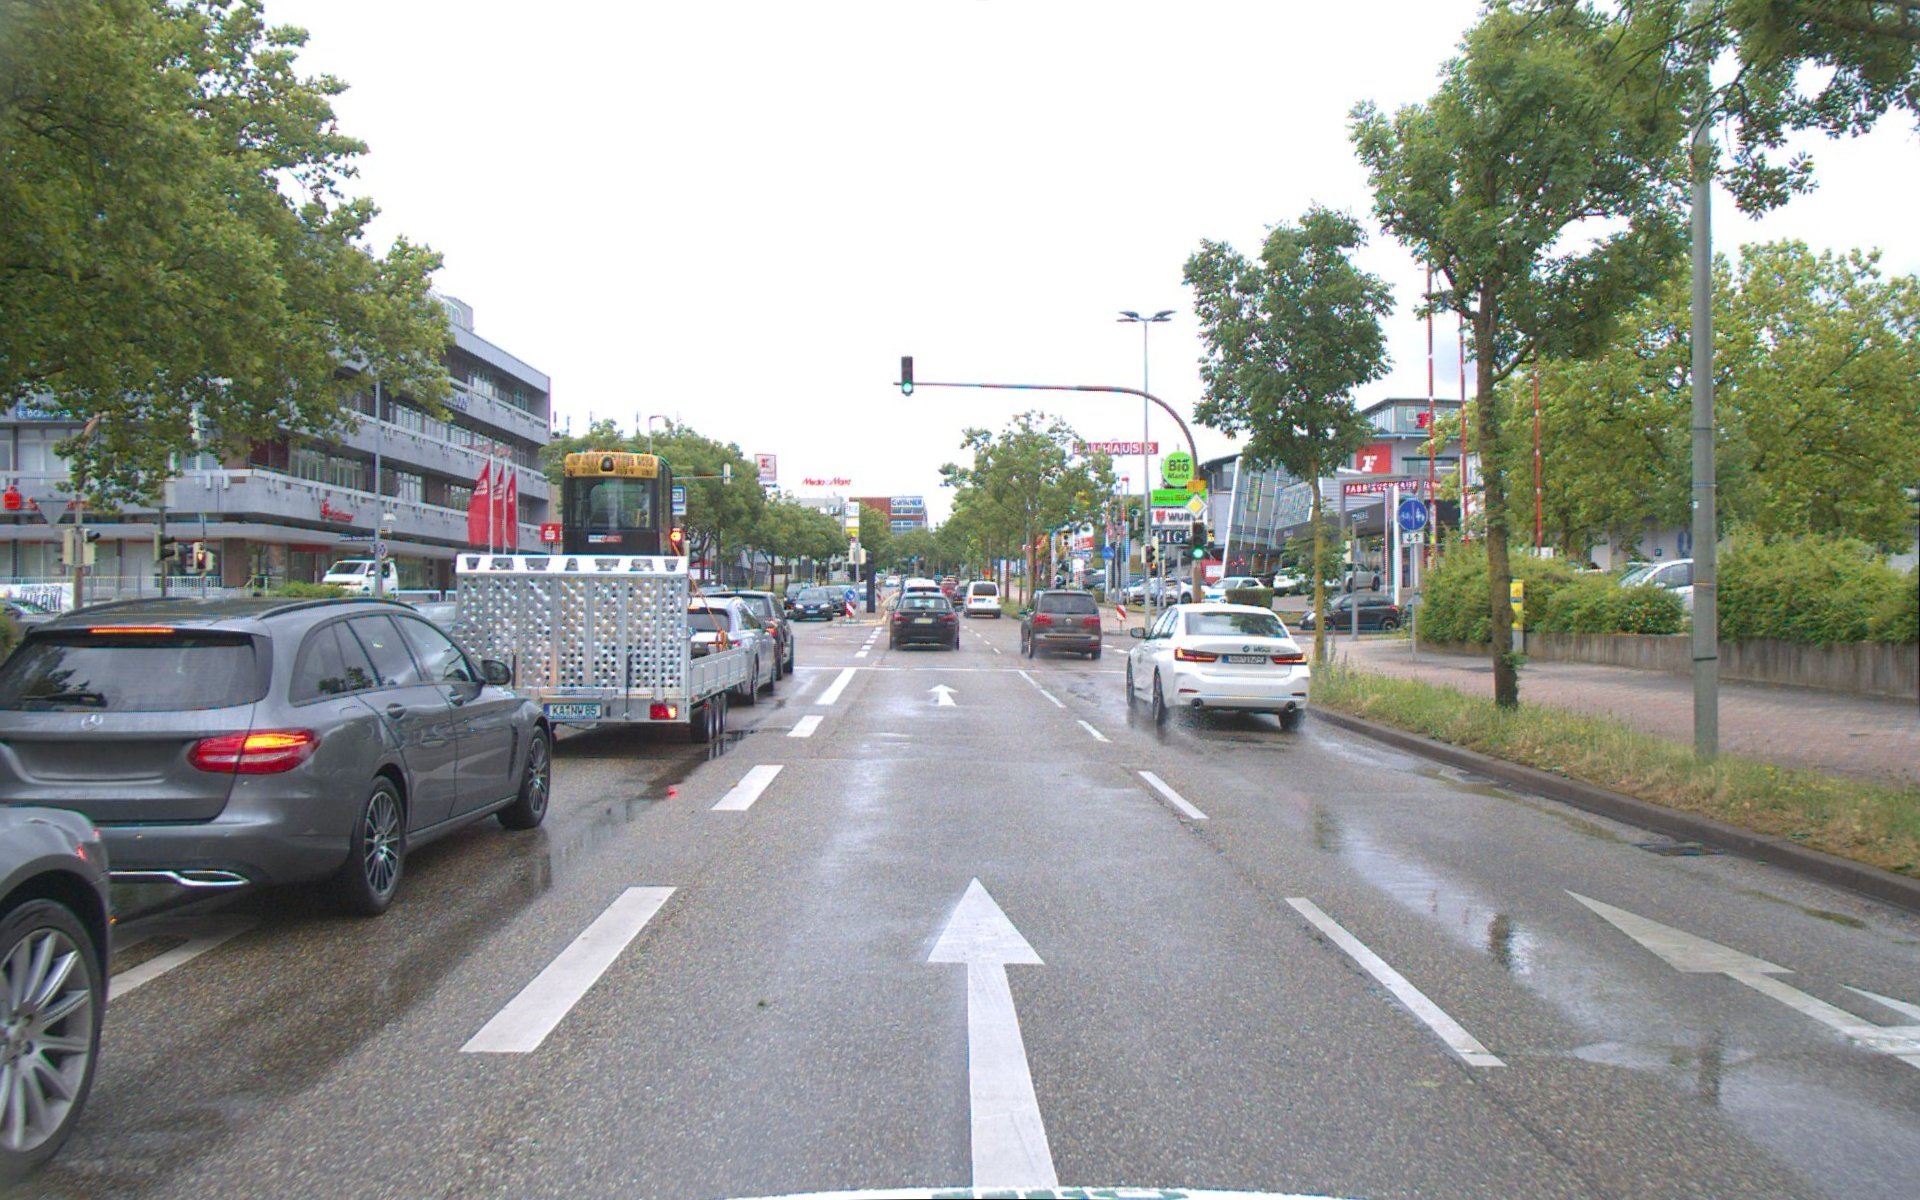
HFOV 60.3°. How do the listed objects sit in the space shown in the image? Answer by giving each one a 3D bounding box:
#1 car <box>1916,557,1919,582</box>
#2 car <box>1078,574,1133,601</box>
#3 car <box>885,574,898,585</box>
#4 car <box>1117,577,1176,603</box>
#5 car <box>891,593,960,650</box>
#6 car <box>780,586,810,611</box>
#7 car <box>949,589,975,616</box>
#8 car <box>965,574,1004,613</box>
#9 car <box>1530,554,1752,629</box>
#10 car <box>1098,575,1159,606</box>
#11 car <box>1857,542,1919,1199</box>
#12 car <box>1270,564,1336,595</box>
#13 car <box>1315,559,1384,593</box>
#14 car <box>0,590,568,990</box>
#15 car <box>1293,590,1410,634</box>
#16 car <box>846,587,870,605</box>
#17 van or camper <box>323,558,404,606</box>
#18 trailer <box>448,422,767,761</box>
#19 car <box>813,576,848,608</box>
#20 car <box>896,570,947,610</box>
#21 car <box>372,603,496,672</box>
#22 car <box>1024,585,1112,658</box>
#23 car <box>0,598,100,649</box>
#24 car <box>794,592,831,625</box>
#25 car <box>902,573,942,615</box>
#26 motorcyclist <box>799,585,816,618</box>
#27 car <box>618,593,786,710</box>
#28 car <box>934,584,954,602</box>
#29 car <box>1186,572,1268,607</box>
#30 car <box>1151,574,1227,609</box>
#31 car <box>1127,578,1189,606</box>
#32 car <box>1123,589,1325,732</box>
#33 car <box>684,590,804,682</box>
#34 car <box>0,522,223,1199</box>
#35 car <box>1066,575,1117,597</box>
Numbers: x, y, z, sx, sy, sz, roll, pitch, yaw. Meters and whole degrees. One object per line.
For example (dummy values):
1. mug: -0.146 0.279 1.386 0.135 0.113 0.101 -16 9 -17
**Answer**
1. car: 50.116 -1.565 83.245 1.527 1.292 3.197 -1 0 -41
2. car: 11.008 -0.971 125.160 4.026 1.938 1.800 -1 0 0
3. car: -9.739 -2.866 234.879 1.904 1.474 3.998 0 0 -2
4. car: 11.674 -0.634 103.374 3.567 1.562 1.770 -2 1 -41
5. car: -0.920 0.534 43.741 1.745 1.422 3.999 0 0 -2
6. car: -10.778 -0.108 108.290 1.873 1.636 4.359 -1 0 -5
7. car: 0.121 0.195 107.734 1.650 1.713 3.402 1 -1 0
8. car: 1.214 -0.321 83.620 1.746 1.899 3.999 -1 0 -2
9. car: 13.990 -0.179 34.122 3.904 1.467 1.655 -1 0 1
10. car: 11.593 -0.650 113.947 4.026 2.142 1.800 0 1 0
11. car: 3.218 0.678 2.090 1.691 1.653 4.470 0 0 -1
12. car: 20.549 -1.252 99.014 4.117 1.802 1.712 -1 0 -41
13. car: 21.060 -1.310 89.354 4.123 1.802 1.710 -1 0 -45
14. car: -3.581 0.728 8.599 1.953 1.454 4.554 -2 1 0
15. car: 14.596 0.454 61.755 3.898 1.515 1.817 -1 -1 -1
16. car: -8.419 -0.319 136.754 1.688 1.422 4.787 -3 0 -2
17. van or camper: -26.726 -0.780 74.280 1.953 2.001 4.787 1 -1 -1
18. trailer: -3.423 -0.077 17.342 2.325 2.947 5.543 -1 0 -2
19. car: -6.602 -0.380 84.343 1.710 1.515 4.824 0 0 -4
20. car: -1.434 -0.369 60.646 1.649 1.401 3.996 -1 0 -5
21. car: -12.108 0.832 38.351 1.677 1.407 4.171 -3 0 -3
22. car: 2.559 0.479 40.117 1.764 1.614 4.450 2 0 -1
23. car: -29.315 0.727 51.490 4.065 1.515 1.878 -1 0 -3
24. car: -6.688 0.368 75.271 1.649 1.401 3.996 -1 0 -5
25. car: -1.928 -0.265 84.176 1.953 2.049 3.999 1 -1 -1
26. motorcyclist: -7.359 0.078 79.864 0.790 1.586 1.267 0 1 -3
27. car: -3.566 0.653 23.665 1.730 1.484 4.779 -1 0 -1
28. car: -1.325 -0.588 137.066 1.661 1.468 3.989 0 1 -1
29. car: 12.607 -0.494 77.842 1.896 1.604 4.265 -1 0 40
30. car: 12.458 -0.464 89.943 3.991 1.691 1.953 -3 2 -41
31. car: 11.479 -0.483 95.668 3.567 1.563 1.619 -1 0 -41
32. car: 3.219 0.682 21.032 1.764 1.571 4.619 2 0 -1
33. car: -3.799 0.592 29.614 1.679 1.515 4.076 -1 0 -1
34. car: -3.194 0.634 2.658 1.868 1.606 4.879 -1 0 -1
35. car: 10.529 -1.130 132.140 4.024 1.733 1.801 0 1 4
